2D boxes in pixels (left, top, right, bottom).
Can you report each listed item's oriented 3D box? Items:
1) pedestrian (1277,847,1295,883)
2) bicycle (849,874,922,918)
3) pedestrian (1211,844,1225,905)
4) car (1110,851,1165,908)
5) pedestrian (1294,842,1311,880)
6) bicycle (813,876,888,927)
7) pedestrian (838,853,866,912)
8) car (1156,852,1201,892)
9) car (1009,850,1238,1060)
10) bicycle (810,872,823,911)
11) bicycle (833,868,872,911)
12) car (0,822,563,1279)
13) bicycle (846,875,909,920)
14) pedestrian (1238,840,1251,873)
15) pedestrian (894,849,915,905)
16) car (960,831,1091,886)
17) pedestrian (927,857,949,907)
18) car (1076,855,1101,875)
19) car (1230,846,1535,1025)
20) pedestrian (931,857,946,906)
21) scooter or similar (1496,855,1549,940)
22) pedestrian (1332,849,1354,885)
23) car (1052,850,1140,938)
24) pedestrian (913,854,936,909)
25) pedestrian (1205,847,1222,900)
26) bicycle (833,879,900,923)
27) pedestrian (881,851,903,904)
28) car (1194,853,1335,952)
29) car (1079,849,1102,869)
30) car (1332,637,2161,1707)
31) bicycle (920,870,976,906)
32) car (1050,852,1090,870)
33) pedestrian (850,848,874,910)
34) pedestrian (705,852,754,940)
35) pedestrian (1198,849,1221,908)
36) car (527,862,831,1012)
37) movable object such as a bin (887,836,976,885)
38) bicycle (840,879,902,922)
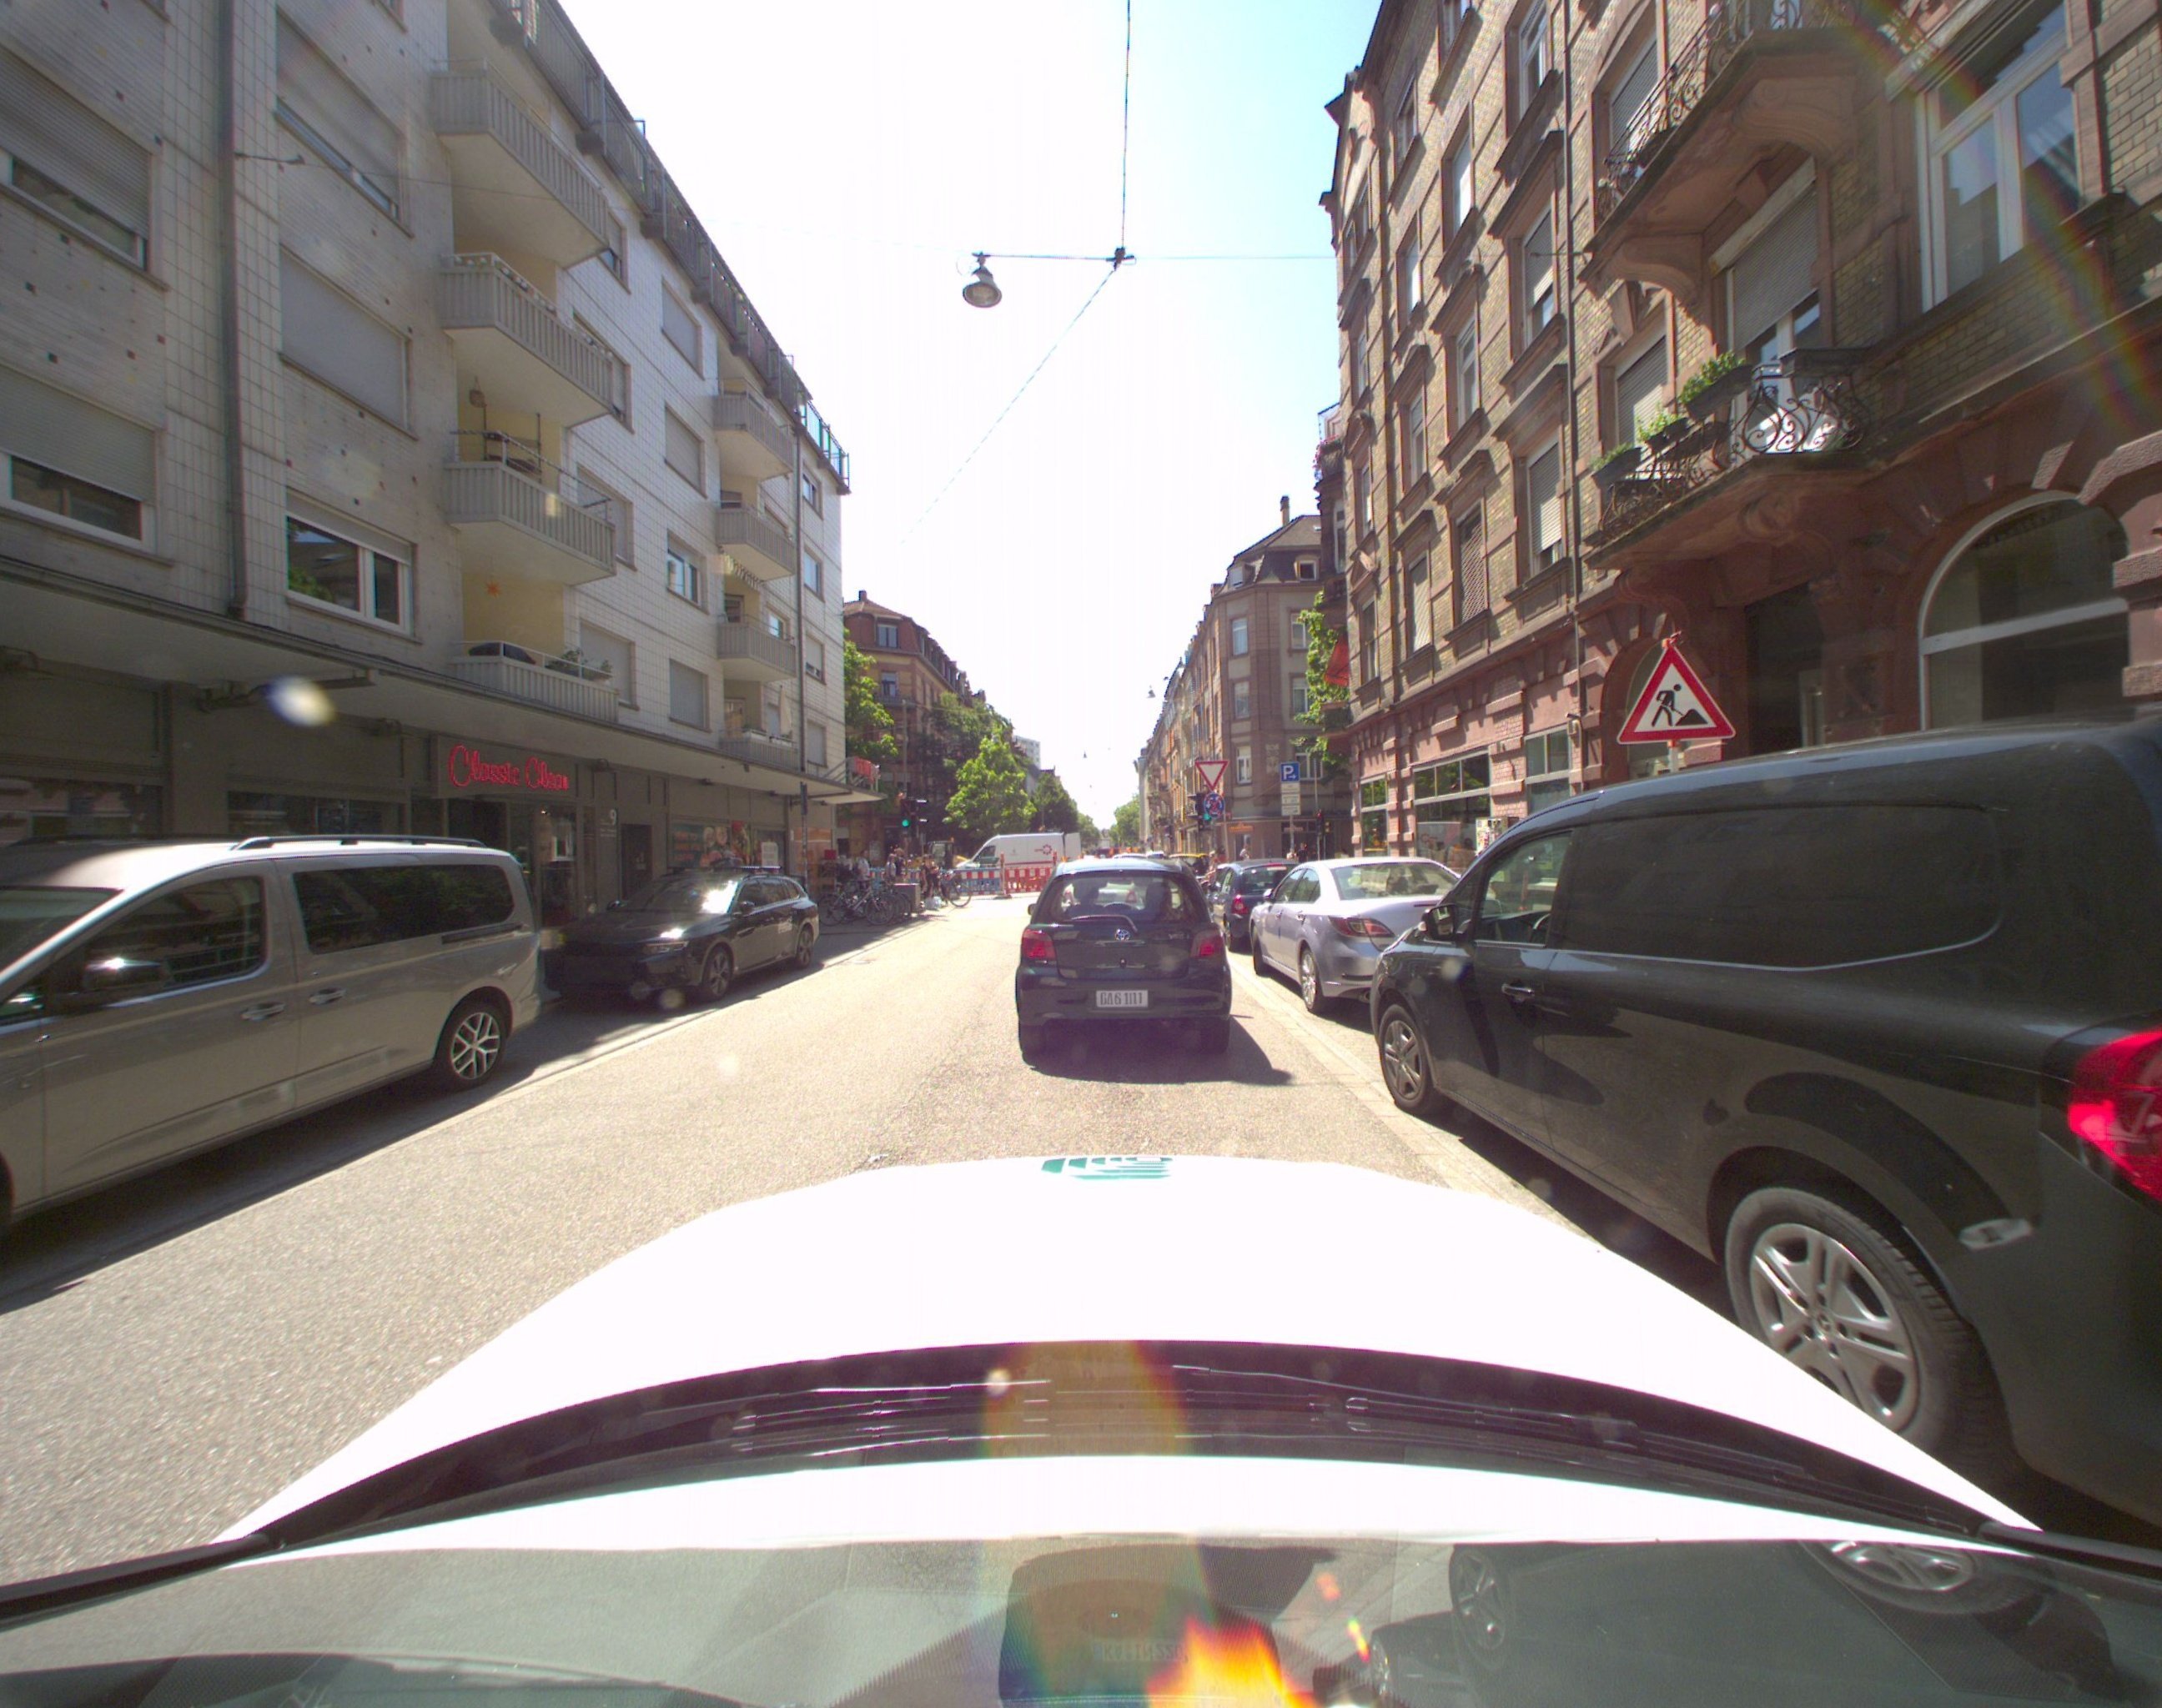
[{"bbox_3d":[9.836,0.513,39.090,0.701,1.645,0.422,-4,3,-7],"label":"pedestrian"},{"bbox_3d":[-5.150,1.103,21.544,1.794,1.123,0.577,0,-1,-5],"label":"bicycle"},{"bbox_3d":[3.839,0.573,22.787,0.330,1.675,0.402,-2,-1,8],"label":"pedestrian"},{"bbox_3d":[1.760,0.720,25.013,1.515,1.592,3.268,-2,0,5],"label":"car"},{"bbox_3d":[10.679,0.338,39.248,0.574,1.768,0.470,-4,3,-7],"label":"pedestrian"},{"bbox_3d":[-5.329,1.099,18.875,1.580,1.139,0.526,1,-1,-3],"label":"bicycle"},{"bbox_3d":[-7.114,0.876,25.313,0.528,1.797,0.938,-2,0,2],"label":"pedestrian"},{"bbox_3d":[3.949,0.683,32.537,1.618,1.432,3.669,-3,0,8],"label":"car"},{"bbox_3d":[0.425,0.733,7.426,1.606,1.485,3.245,-1,0,4],"label":"car"},{"bbox_3d":[-7.872,1.095,24.291,0.321,1.086,1.424,-1,1,-17],"label":"bicycle"},{"bbox_3d":[-7.093,1.087,25.401,0.533,1.247,2.013,-2,0,2],"label":"bicycle"},{"bbox_3d":[-5.195,0.786,4.438,1.783,1.811,4.697,0,0,-1],"label":"car"},{"bbox_3d":[-5.225,1.115,20.919,1.515,1.117,0.335,1,-1,-3],"label":"bicycle"},{"bbox_3d":[8.518,0.133,42.425,0.473,1.733,0.876,-2,-2,21],"label":"pedestrian"},{"bbox_3d":[-5.855,0.749,27.059,0.507,1.820,0.599,-2,-1,-1],"label":"pedestrian"},{"bbox_3d":[-2.816,0.239,42.551,6.594,2.751,2.381,0,0,2],"label":"car"},{"bbox_3d":[-4.581,0.895,26.093,0.491,1.565,0.462,0,0,28],"label":"pedestrian"},{"bbox_3d":[0.635,0.832,62.670,1.748,1.444,4.002,-2,0,2],"label":"car"},{"bbox_3d":[2.969,0.697,9.147,1.720,1.432,4.485,-3,0,0],"label":"car"},{"bbox_3d":[-4.790,0.903,27.368,0.388,1.618,0.475,-2,-1,-1],"label":"pedestrian"},{"bbox_3d":[6.424,0.603,11.897,0.290,1.177,1.276,-1,0,11],"label":"scooter or similar"},{"bbox_3d":[12.072,0.587,37.502,0.798,1.623,0.644,-2,0,4],"label":"pedestrian"},{"bbox_3d":[0.310,0.711,16.114,1.517,1.521,3.265,-2,0,1],"label":"car"},{"bbox_3d":[-4.772,0.836,24.847,0.539,1.633,0.511,-2,-1,-1],"label":"pedestrian"},{"bbox_3d":[3.987,0.583,24.559,0.457,1.560,0.480,-2,-1,7],"label":"pedestrian"},{"bbox_3d":[-5.198,1.136,19.788,1.490,1.030,0.397,1,-1,-3],"label":"bicycle"},{"bbox_3d":[-6.011,0.740,25.908,0.507,1.633,0.599,-2,-1,-1],"label":"pedestrian"},{"bbox_3d":[3.081,0.755,14.368,1.622,1.432,3.660,-3,0,0],"label":"car"},{"bbox_3d":[0.851,0.441,71.983,1.748,1.645,4.379,-5,0,2],"label":"car"},{"bbox_3d":[2.665,0.507,3.417,1.819,1.767,4.337,-3,0,0],"label":"car"},{"bbox_3d":[-4.294,1.087,26.298,1.789,1.119,0.470,0,0,23],"label":"bicycle"},{"bbox_3d":[-1.408,0.843,104.542,4.581,2.187,1.983,-1,-1,-26],"label":"car"},{"bbox_3d":[-6.430,0.722,23.952,0.507,1.770,0.599,-2,-1,-1],"label":"pedestrian"},{"bbox_3d":[-7.101,0.840,16.464,0.628,1.727,0.659,-2,-1,3],"label":"pedestrian"},{"bbox_3d":[3.486,0.657,22.102,0.490,1.543,0.437,-4,-1,7],"label":"pedestrian"},{"bbox_3d":[-4.936,0.899,10.832,1.663,1.525,4.466,-1,0,2],"label":"car"},{"bbox_3d":[-8.303,0.367,45.421,4.523,2.659,1.957,0,-1,3],"label":"movable object such as a bin"},{"bbox_3d":[-5.220,1.151,20.246,1.444,1.036,0.335,1,-1,-3],"label":"bicycle"}]
